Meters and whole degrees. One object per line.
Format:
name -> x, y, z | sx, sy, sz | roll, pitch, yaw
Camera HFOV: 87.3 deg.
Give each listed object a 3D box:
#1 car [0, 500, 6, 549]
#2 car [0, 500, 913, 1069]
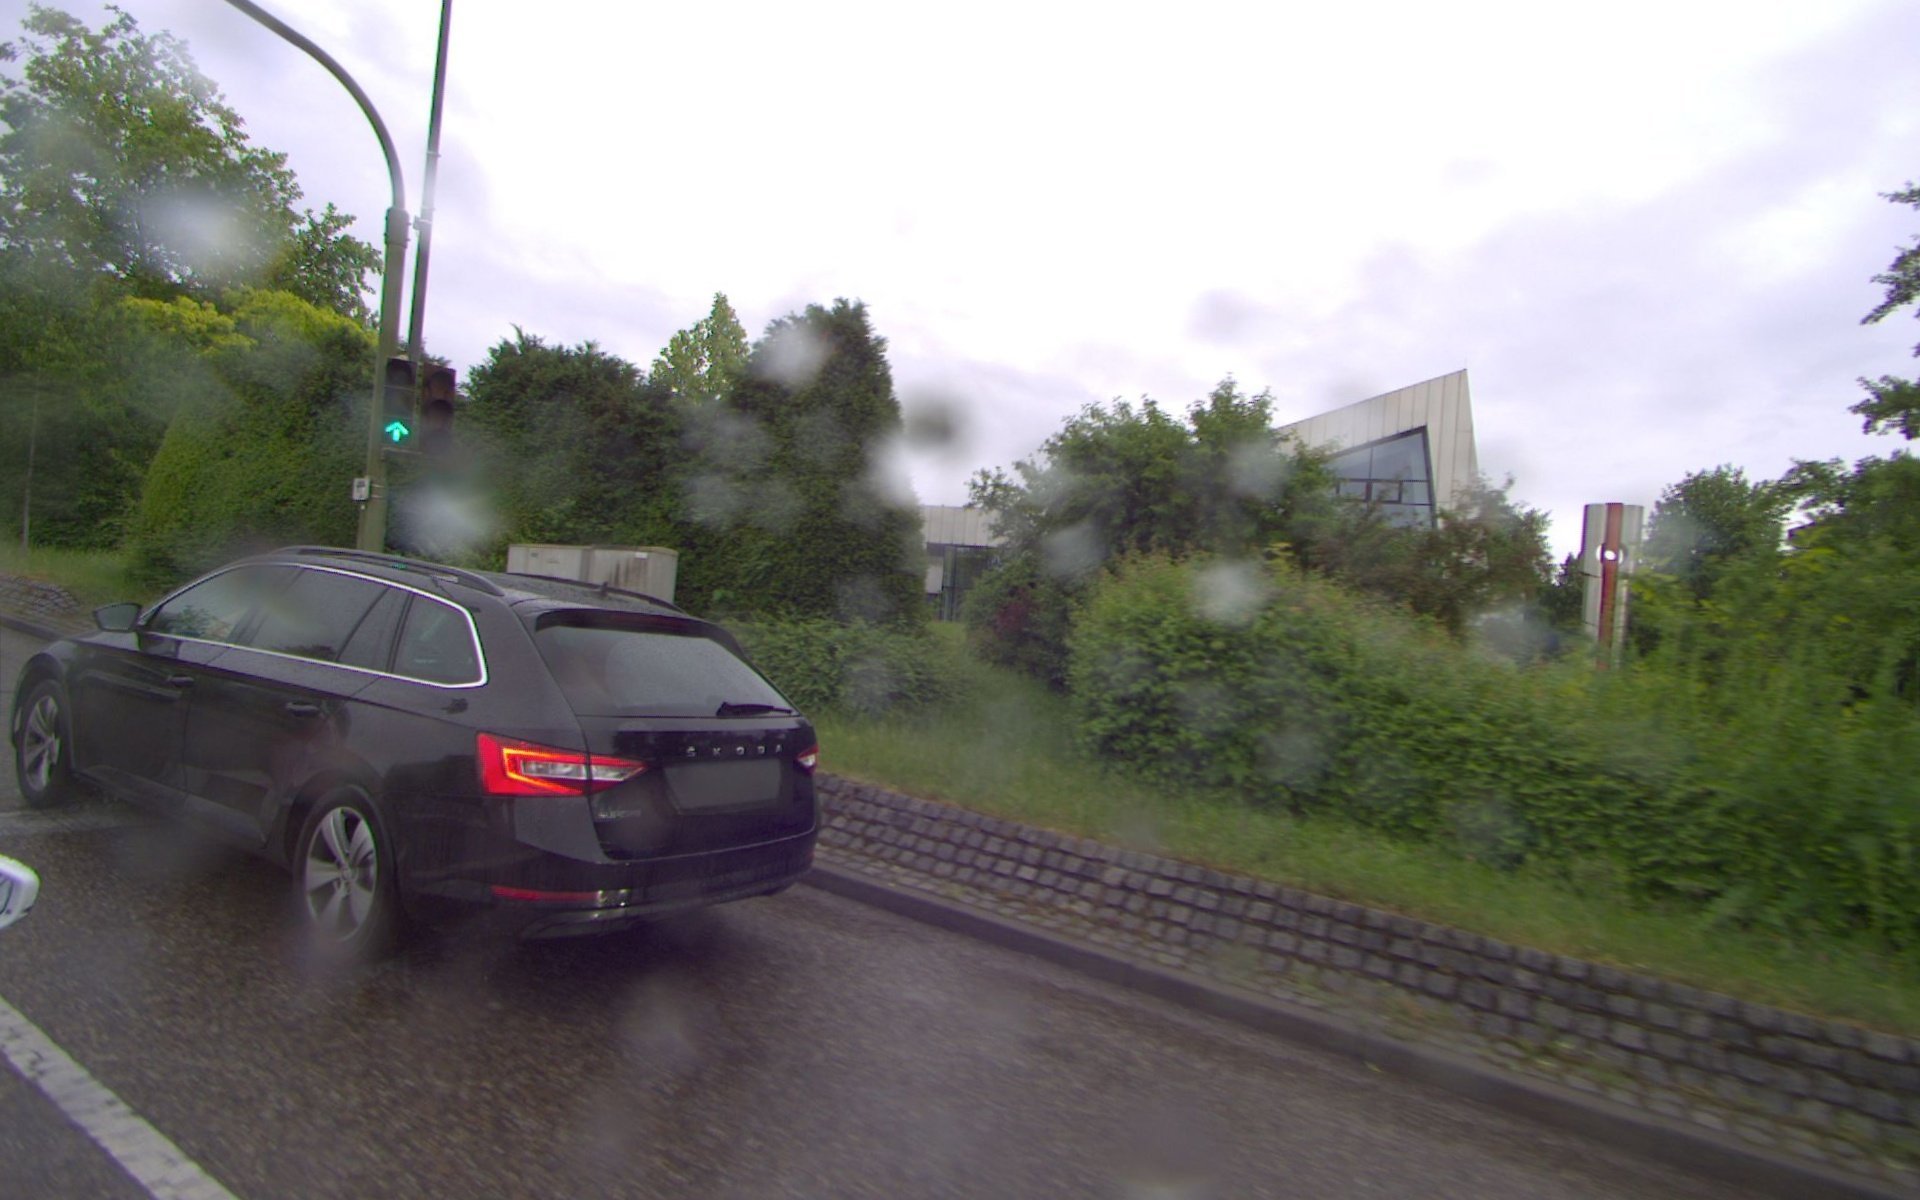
car -> -11.748, -0.529, 10.232 | 4.230, 1.426, 1.851 | 6, -2, 32
car -> -2.726, 0.539, 4.960 | 4.532, 1.523, 1.960 | 6, -4, 31
